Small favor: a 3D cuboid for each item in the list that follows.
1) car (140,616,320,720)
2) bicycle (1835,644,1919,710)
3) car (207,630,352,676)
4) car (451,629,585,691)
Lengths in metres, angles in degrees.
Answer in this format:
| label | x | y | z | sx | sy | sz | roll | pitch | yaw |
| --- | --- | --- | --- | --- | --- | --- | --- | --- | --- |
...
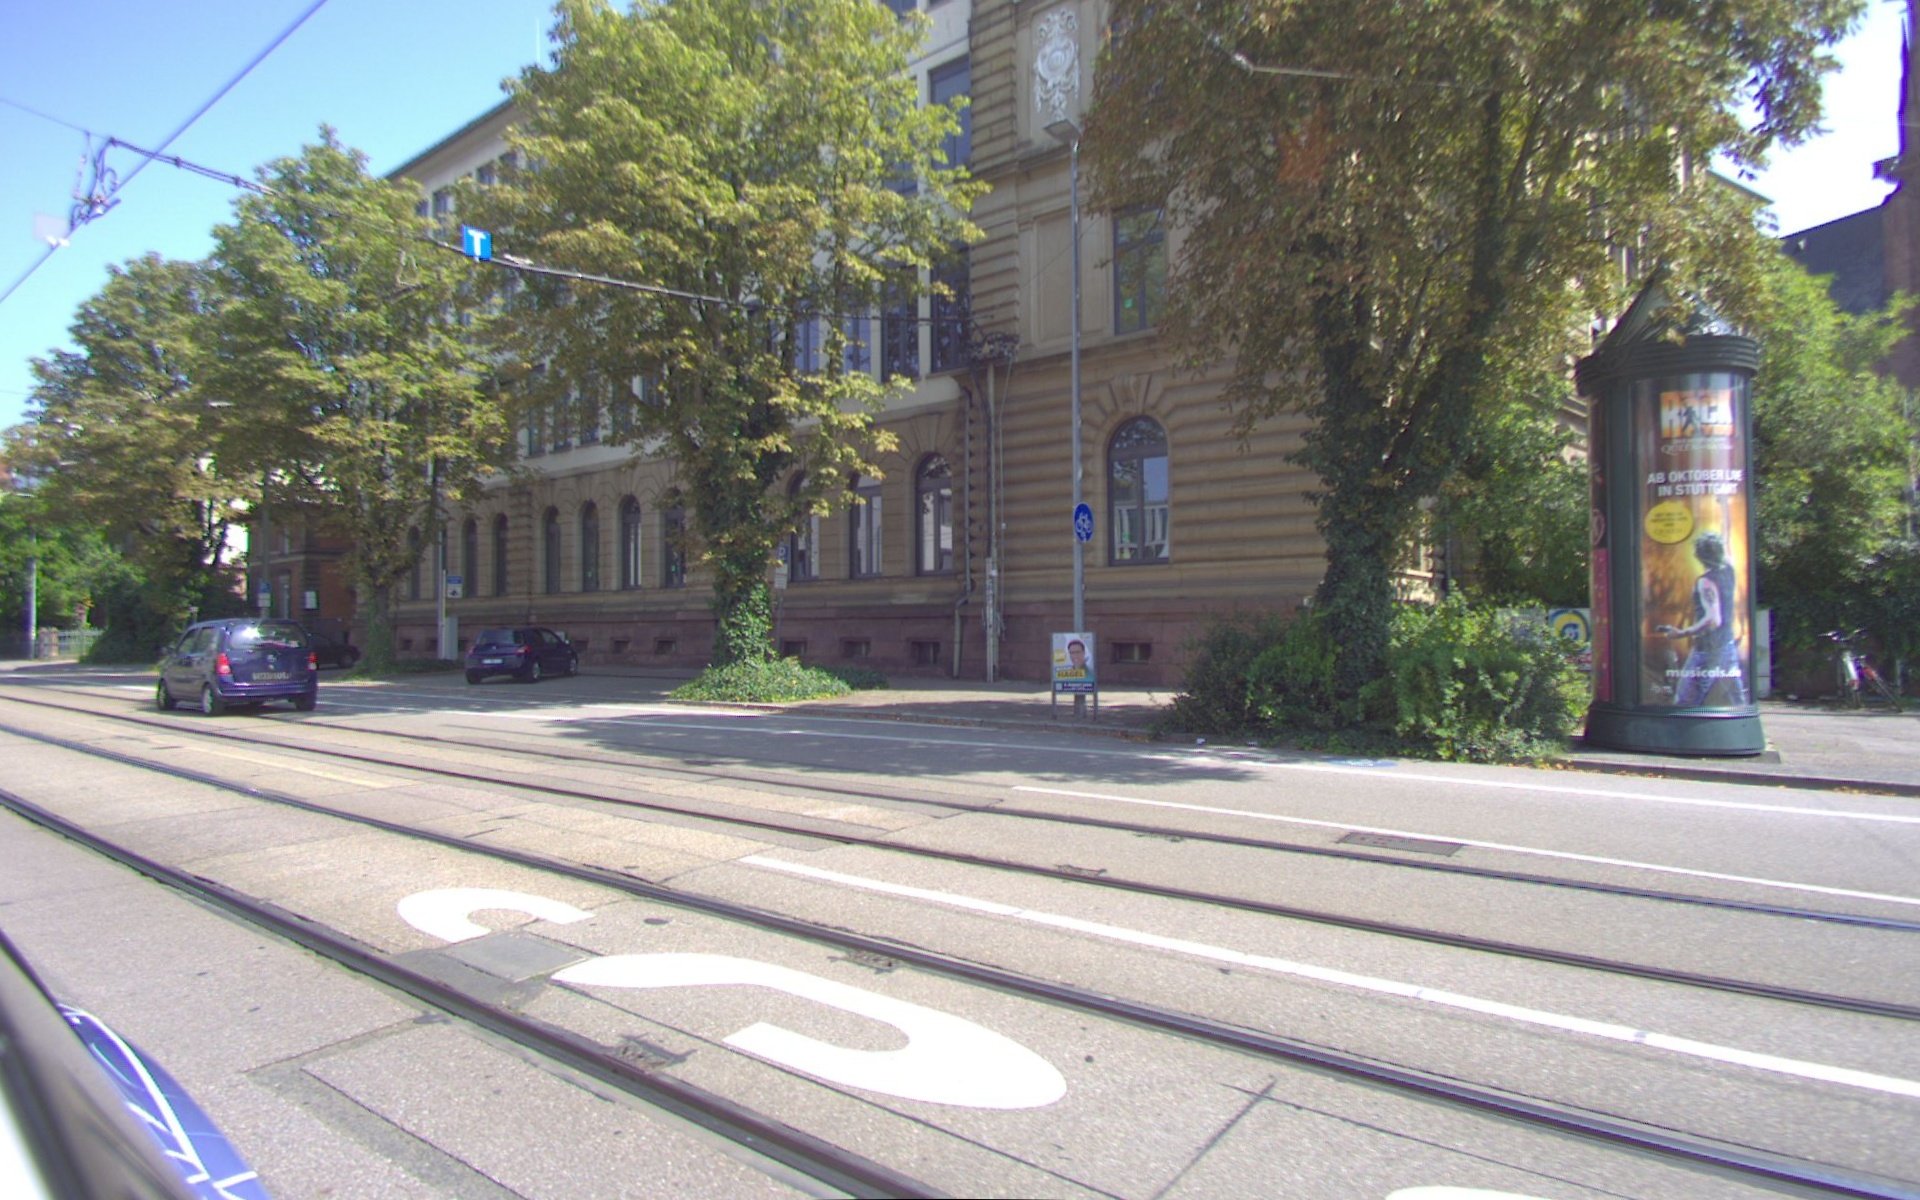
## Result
| label | x | y | z | sx | sy | sz | roll | pitch | yaw |
| --- | --- | --- | --- | --- | --- | --- | --- | --- | --- |
| car | -13.149 | 1.157 | 18.175 | 3.575 | 1.667 | 1.675 | -2 | -1 | 38 |
| bicycle | 13.855 | 1.124 | 15.213 | 0.748 | 0.901 | 2.156 | -2 | -2 | 33 |
| car | -24.371 | 1.877 | 36.444 | 1.801 | 1.473 | 4.415 | -1 | -1 | 10 |
| car | -11.681 | 1.540 | 27.031 | 1.795 | 1.507 | 4.163 | -1 | -2 | 0 |
